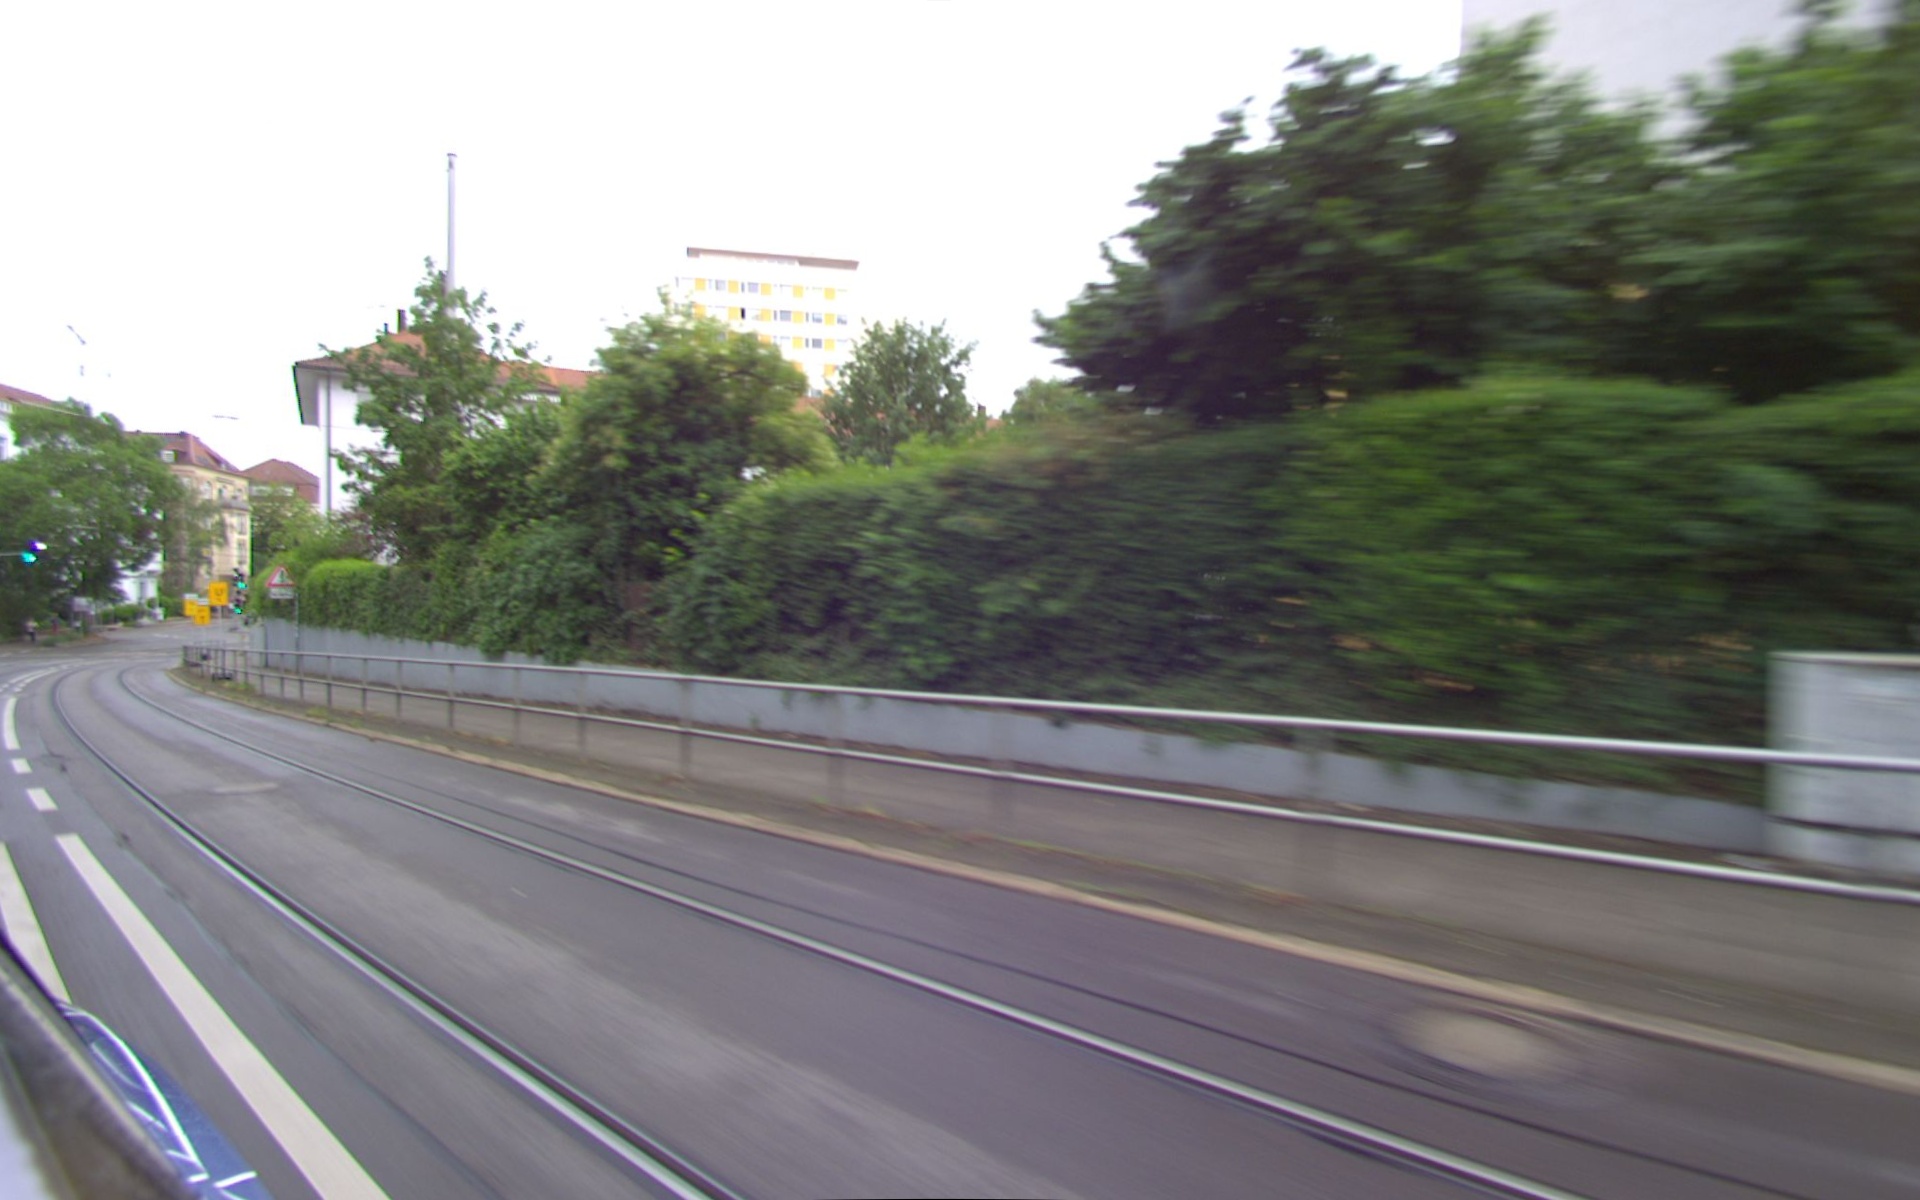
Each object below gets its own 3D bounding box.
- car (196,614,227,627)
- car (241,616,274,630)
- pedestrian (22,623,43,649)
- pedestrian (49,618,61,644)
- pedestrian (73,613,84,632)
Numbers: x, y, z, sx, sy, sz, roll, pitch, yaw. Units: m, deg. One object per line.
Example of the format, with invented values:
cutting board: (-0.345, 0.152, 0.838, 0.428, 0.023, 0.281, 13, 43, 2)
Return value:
car: (-86.058, 2.336, 116.401, 1.573, 1.351, 3.643, 0, -4, -13)
car: (-72.498, 2.365, 104.496, 1.665, 1.453, 3.815, 2, -1, -16)
pedestrian: (-63.893, 2.464, 69.709, 0.732, 1.713, 0.675, 5, -6, -26)
pedestrian: (-68.372, 2.363, 76.457, 0.534, 1.937, 0.919, 2, 0, -34)
pedestrian: (-71.538, 1.789, 82.146, 0.532, 1.518, 0.384, 2, -1, 5)
